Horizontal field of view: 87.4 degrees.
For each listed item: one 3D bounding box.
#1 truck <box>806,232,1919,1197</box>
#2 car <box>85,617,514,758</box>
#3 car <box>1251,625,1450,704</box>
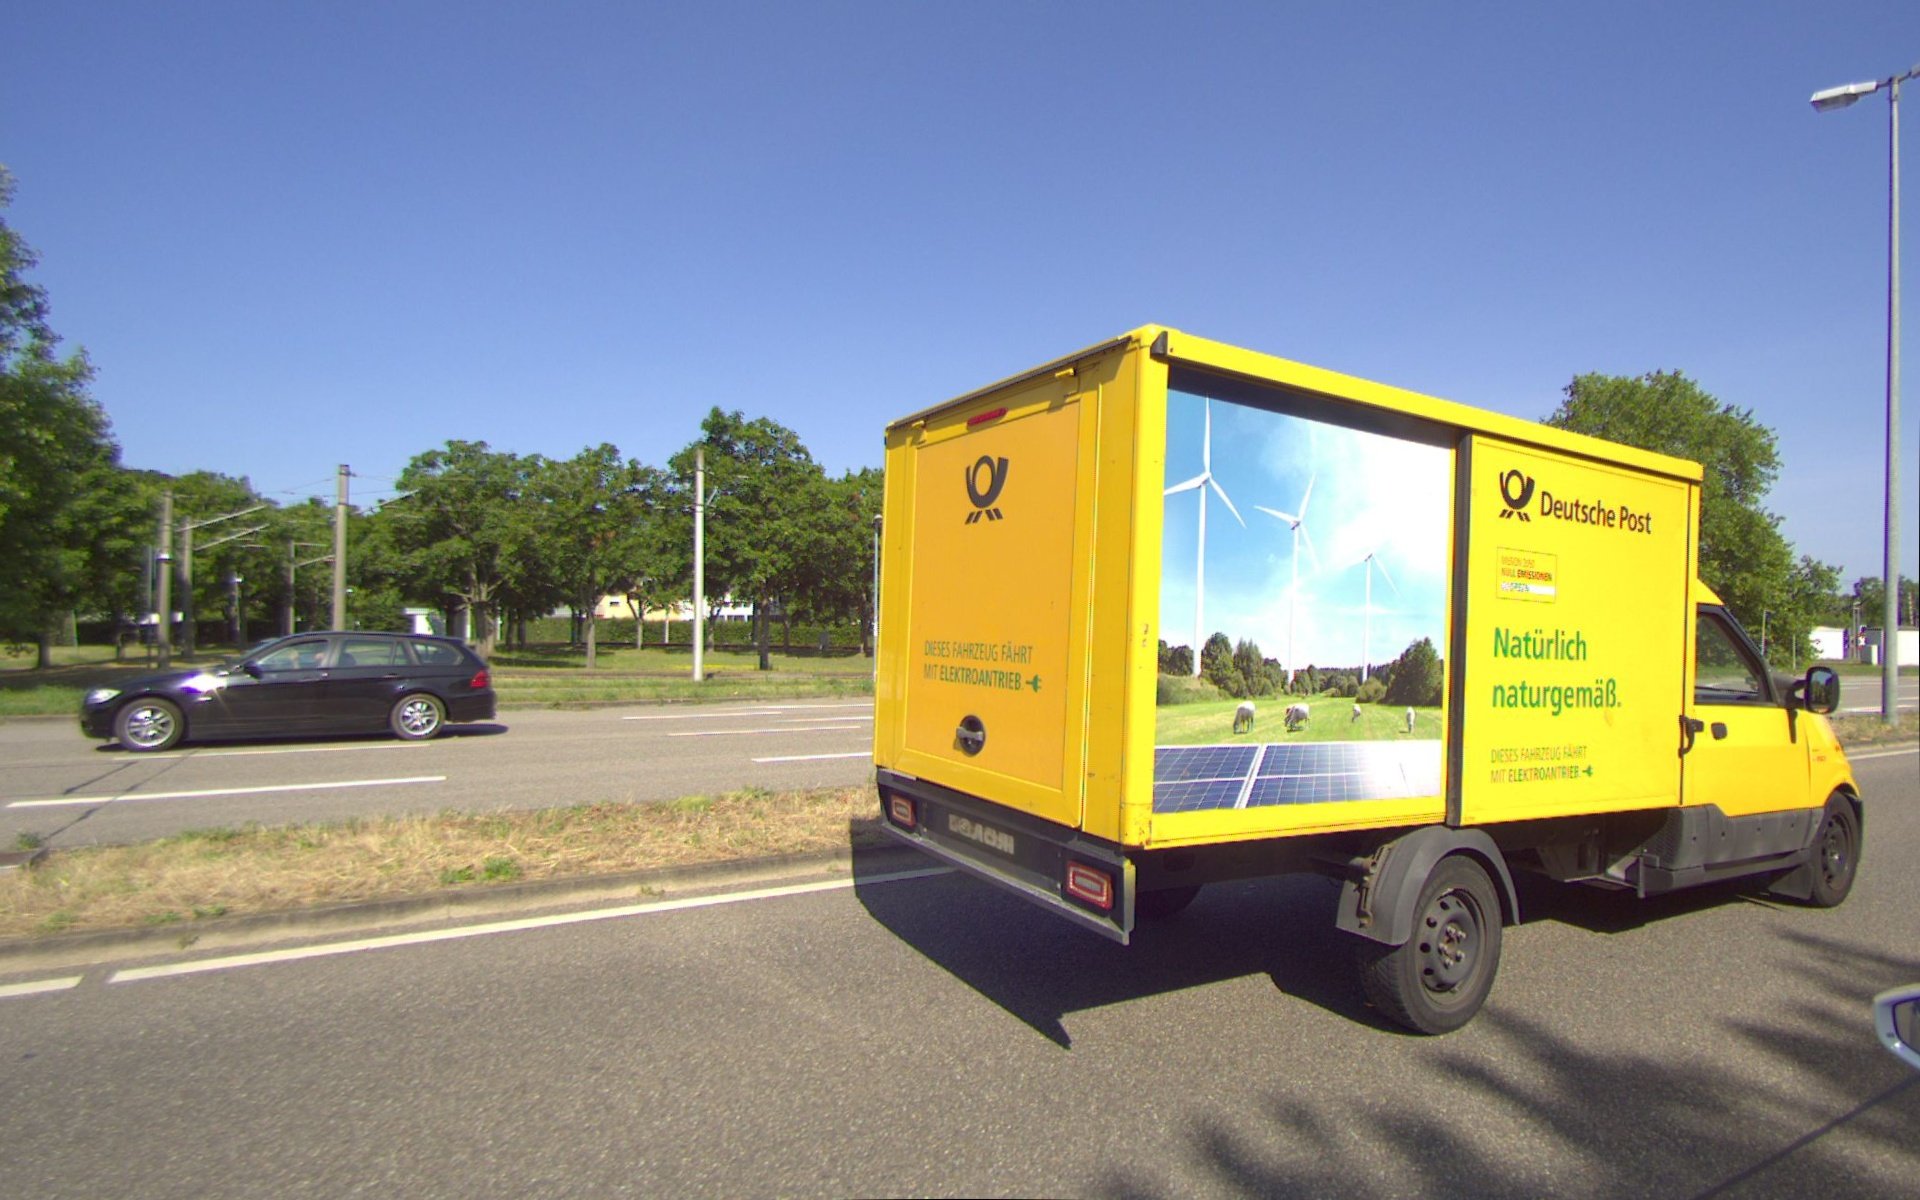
[{"bbox_3d":[2.374,0.368,5.032,5.850,2.490,2.101,2,-1,-32],"label":"truck"},{"bbox_3d":[-8.317,1.067,13.119,4.356,1.565,1.853,2,-3,-31],"label":"car"},{"bbox_3d":[9.099,1.448,23.332,4.501,1.682,1.973,2,-2,-30],"label":"car"}]
